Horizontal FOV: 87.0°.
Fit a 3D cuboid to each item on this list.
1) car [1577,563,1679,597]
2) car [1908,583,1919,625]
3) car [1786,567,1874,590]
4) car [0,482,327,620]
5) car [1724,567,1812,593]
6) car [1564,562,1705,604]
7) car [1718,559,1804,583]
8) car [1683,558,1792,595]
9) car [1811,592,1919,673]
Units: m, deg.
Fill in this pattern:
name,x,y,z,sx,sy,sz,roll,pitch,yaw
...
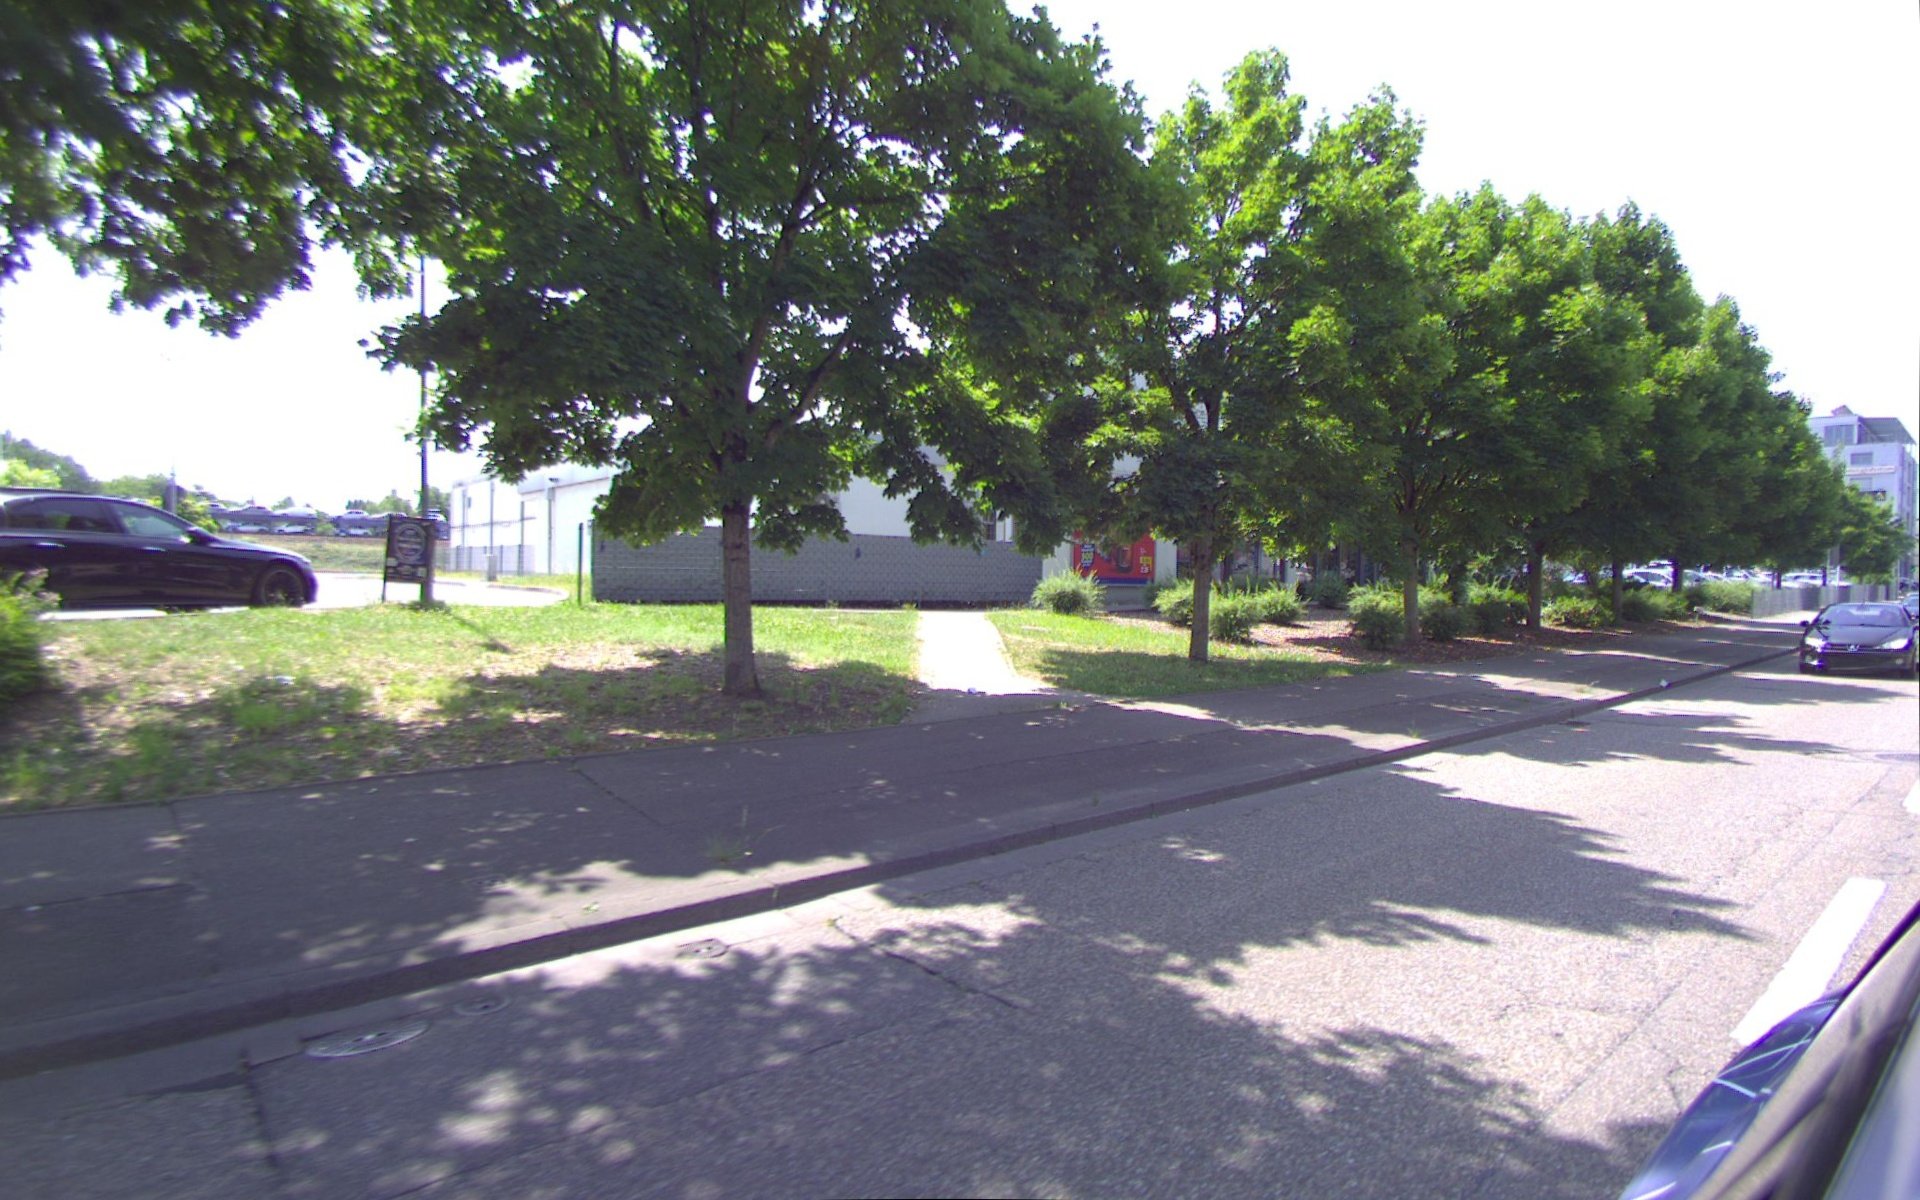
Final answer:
name,x,y,z,sx,sy,sz,roll,pitch,yaw
car,33.238,-0.976,50.440,1.797,1.616,3.989,-1,1,-44
car,34.244,0.162,35.056,3.889,1.339,1.710,-2,5,-42
car,62.963,-1.553,73.300,1.668,1.523,4.584,0,3,-41
car,-10.071,-0.574,11.618,1.926,1.368,4.693,3,3,16
car,49.753,-1.256,62.372,1.668,1.439,4.004,0,3,-41
car,30.583,-0.809,46.009,1.989,1.615,4.998,-1,5,-43
car,53.186,-1.934,67.253,1.667,1.439,4.181,0,3,-38
car,44.376,-1.382,57.821,1.795,1.948,4.627,0,3,-40
car,17.697,0.564,19.538,3.443,1.373,1.638,-1,2,-45
